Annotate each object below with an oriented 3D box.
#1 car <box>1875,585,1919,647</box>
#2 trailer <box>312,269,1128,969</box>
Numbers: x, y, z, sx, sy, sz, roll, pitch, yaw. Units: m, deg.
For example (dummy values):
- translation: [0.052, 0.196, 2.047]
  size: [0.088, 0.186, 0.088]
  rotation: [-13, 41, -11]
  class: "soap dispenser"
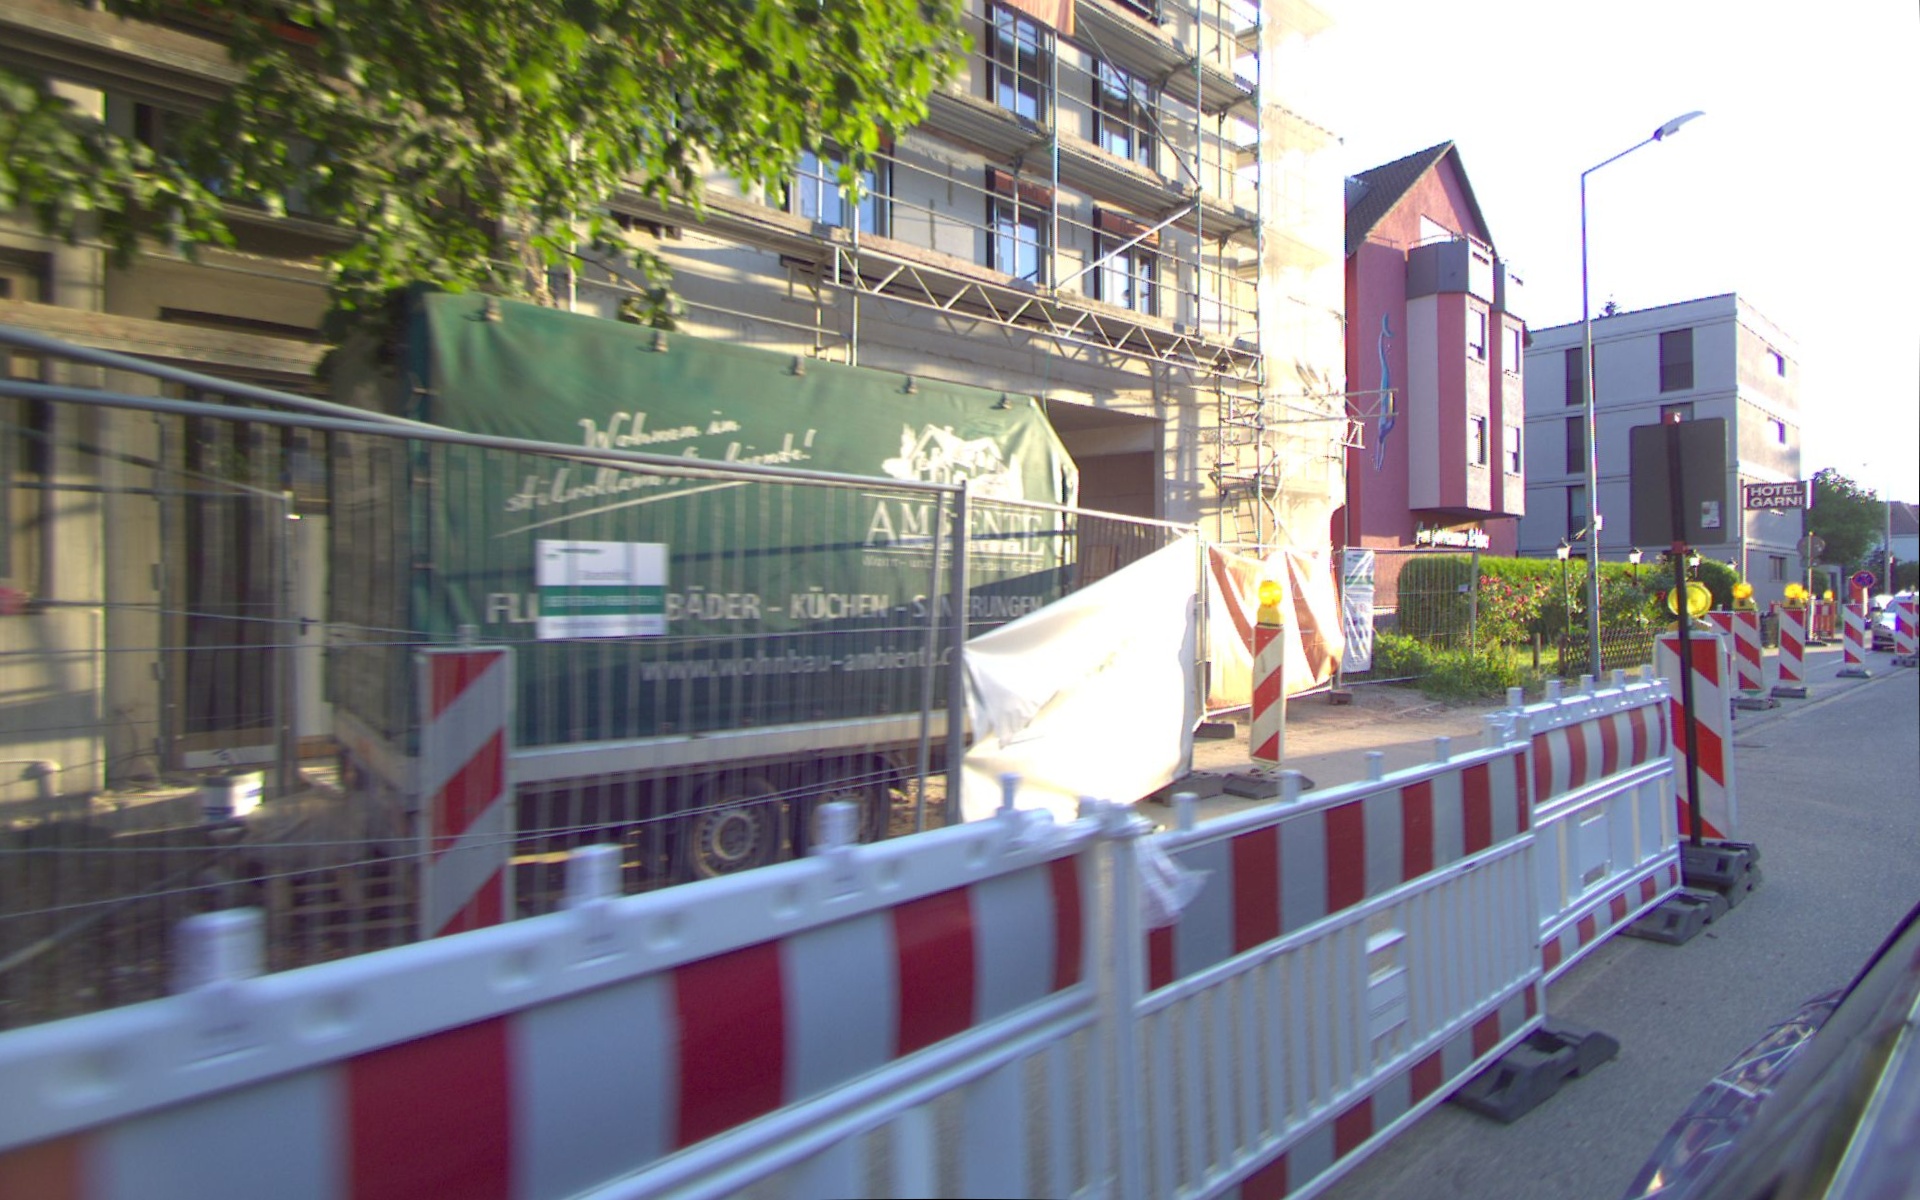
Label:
- translation: [23.535, 0.342, 24.338]
  size: [4.035, 1.414, 1.778]
  rotation: [-1, 0, -41]
  class: "car"
- translation: [-1.166, 0.055, 5.809]
  size: [4.111, 2.572, 1.997]
  rotation: [0, 0, -40]
  class: "trailer"
